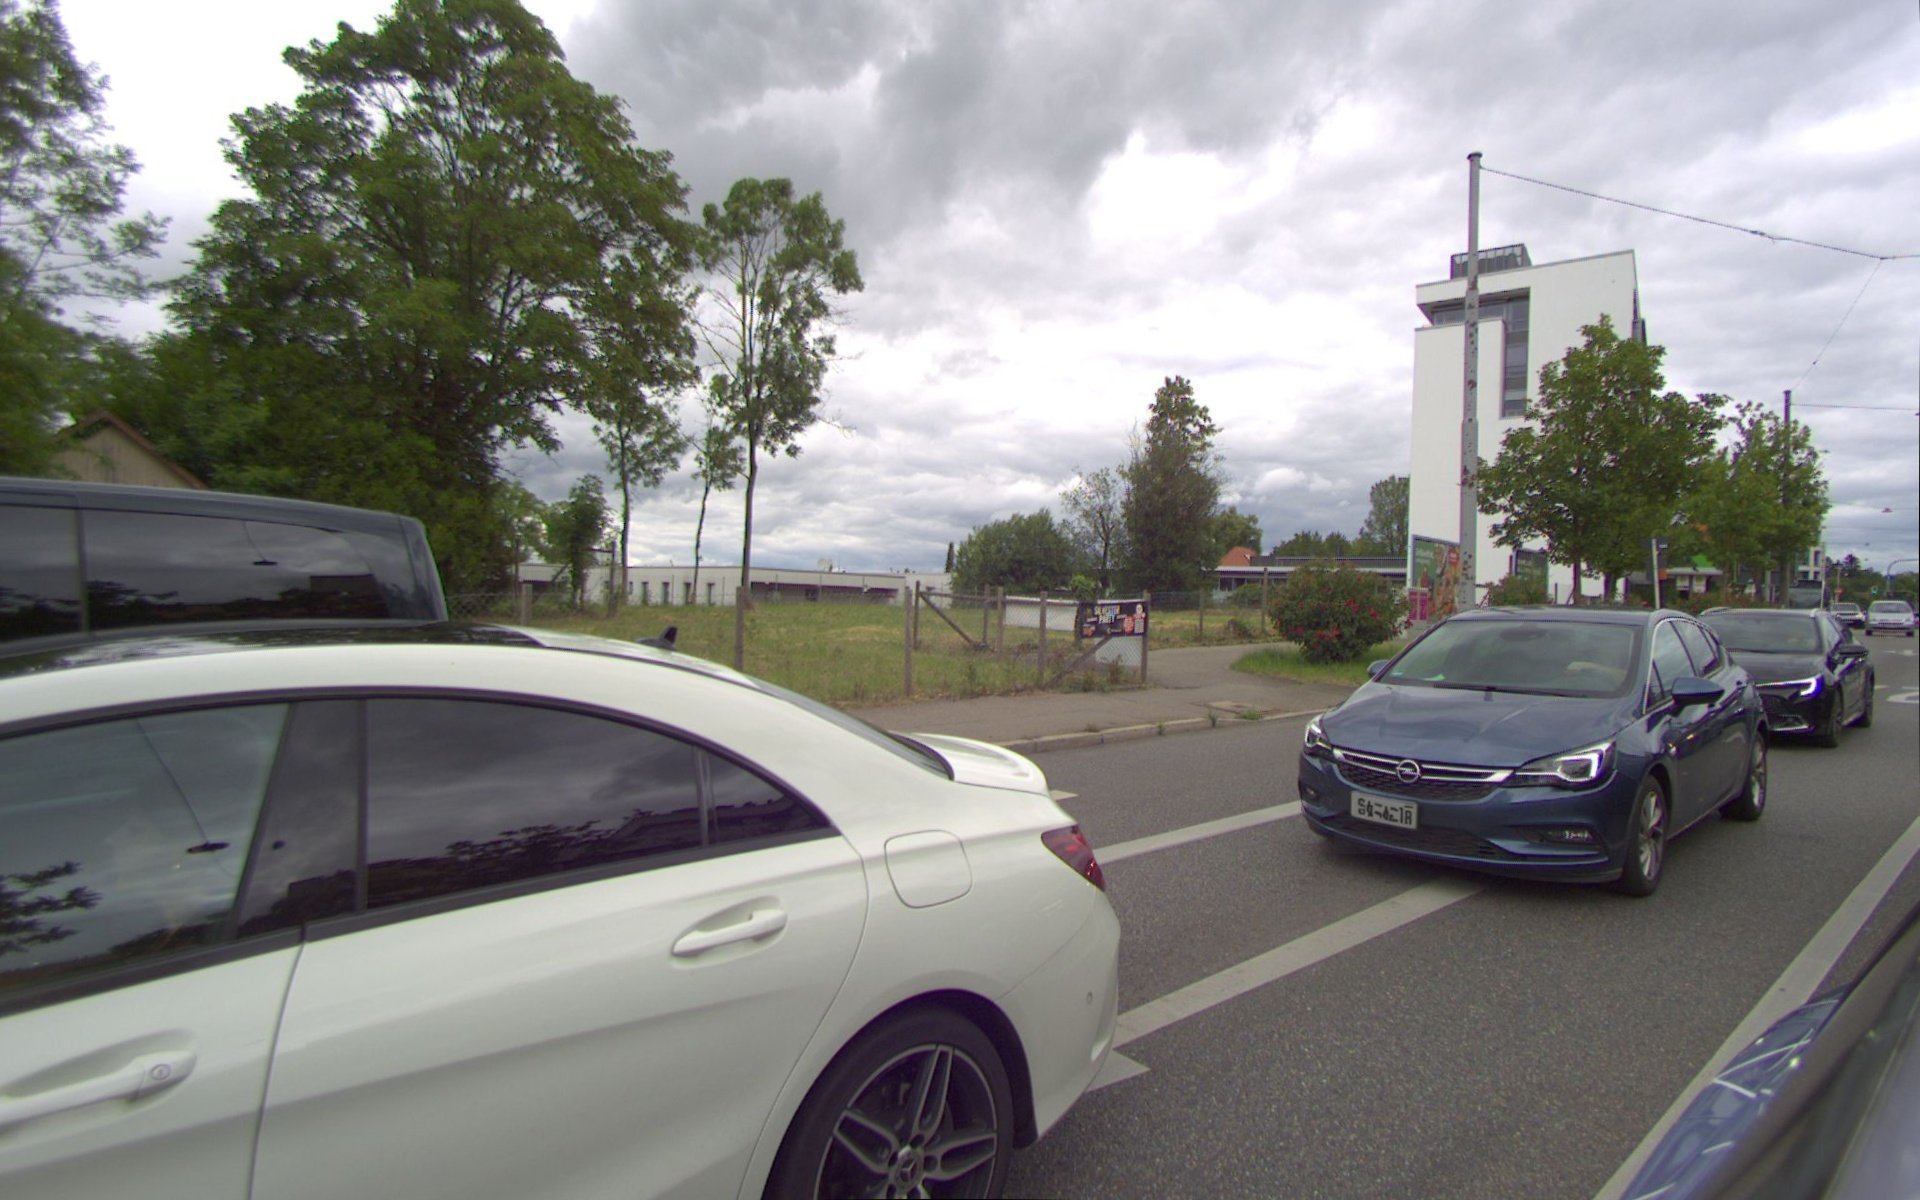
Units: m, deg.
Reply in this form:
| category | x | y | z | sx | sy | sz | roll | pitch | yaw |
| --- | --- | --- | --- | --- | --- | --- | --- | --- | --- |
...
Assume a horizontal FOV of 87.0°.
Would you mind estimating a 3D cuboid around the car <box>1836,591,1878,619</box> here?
| category | x | y | z | sx | sy | sz | roll | pitch | yaw |
| --- | --- | --- | --- | --- | --- | --- | --- | --- | --- |
| car | 64.575 | 0.363 | 72.914 | 1.841 | 1.910 | 4.082 | -1 | -1 | 36 |

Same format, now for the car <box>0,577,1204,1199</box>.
| category | x | y | z | sx | sy | sz | roll | pitch | yaw |
| --- | --- | --- | --- | --- | --- | --- | --- | --- | --- |
| car | -1.544 | 0.696 | 1.817 | 4.300 | 1.451 | 1.652 | 0 | 1 | -41 |

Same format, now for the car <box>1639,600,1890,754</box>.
| category | x | y | z | sx | sy | sz | roll | pitch | yaw |
| --- | --- | --- | --- | --- | --- | --- | --- | --- | --- |
| car | 9.373 | 0.740 | 11.687 | 3.854 | 1.475 | 1.663 | 0 | 0 | -42 |

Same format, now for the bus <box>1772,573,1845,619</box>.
| category | x | y | z | sx | sy | sz | roll | pitch | yaw |
| --- | --- | --- | --- | --- | --- | --- | --- | --- | --- |
| bus | 53.945 | -0.304 | 64.579 | 2.952 | 2.664 | 11.986 | 0 | 1 | 37 |

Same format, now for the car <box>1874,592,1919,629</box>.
| category | x | y | z | sx | sy | sz | roll | pitch | yaw |
| --- | --- | --- | --- | --- | --- | --- | --- | --- | --- |
| car | 43.399 | 0.470 | 46.641 | 1.846 | 1.637 | 3.725 | -1 | -1 | 42 |

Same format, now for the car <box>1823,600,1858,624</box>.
| category | x | y | z | sx | sy | sz | roll | pitch | yaw |
| --- | --- | --- | --- | --- | --- | --- | --- | --- | --- |
| car | 74.045 | 0.963 | 85.175 | 1.990 | 1.844 | 3.945 | 2 | 2 | 38 |

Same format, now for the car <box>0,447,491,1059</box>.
| category | x | y | z | sx | sy | sz | roll | pitch | yaw |
| --- | --- | --- | --- | --- | --- | --- | --- | --- | --- |
| car | -4.234 | 0.473 | 3.242 | 4.627 | 1.863 | 1.952 | 0 | -1 | -41 |

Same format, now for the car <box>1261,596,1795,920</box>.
| category | x | y | z | sx | sy | sz | roll | pitch | yaw |
| --- | --- | --- | --- | --- | --- | --- | --- | --- | --- |
| car | 3.803 | 0.692 | 6.485 | 3.931 | 1.428 | 1.825 | 0 | 0 | -42 |

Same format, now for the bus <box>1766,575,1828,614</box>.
| category | x | y | z | sx | sy | sz | roll | pitch | yaw |
| --- | --- | --- | --- | --- | --- | --- | --- | --- | --- |
| bus | 61.412 | -0.437 | 74.479 | 2.952 | 2.664 | 12.751 | 0 | 1 | 37 |
